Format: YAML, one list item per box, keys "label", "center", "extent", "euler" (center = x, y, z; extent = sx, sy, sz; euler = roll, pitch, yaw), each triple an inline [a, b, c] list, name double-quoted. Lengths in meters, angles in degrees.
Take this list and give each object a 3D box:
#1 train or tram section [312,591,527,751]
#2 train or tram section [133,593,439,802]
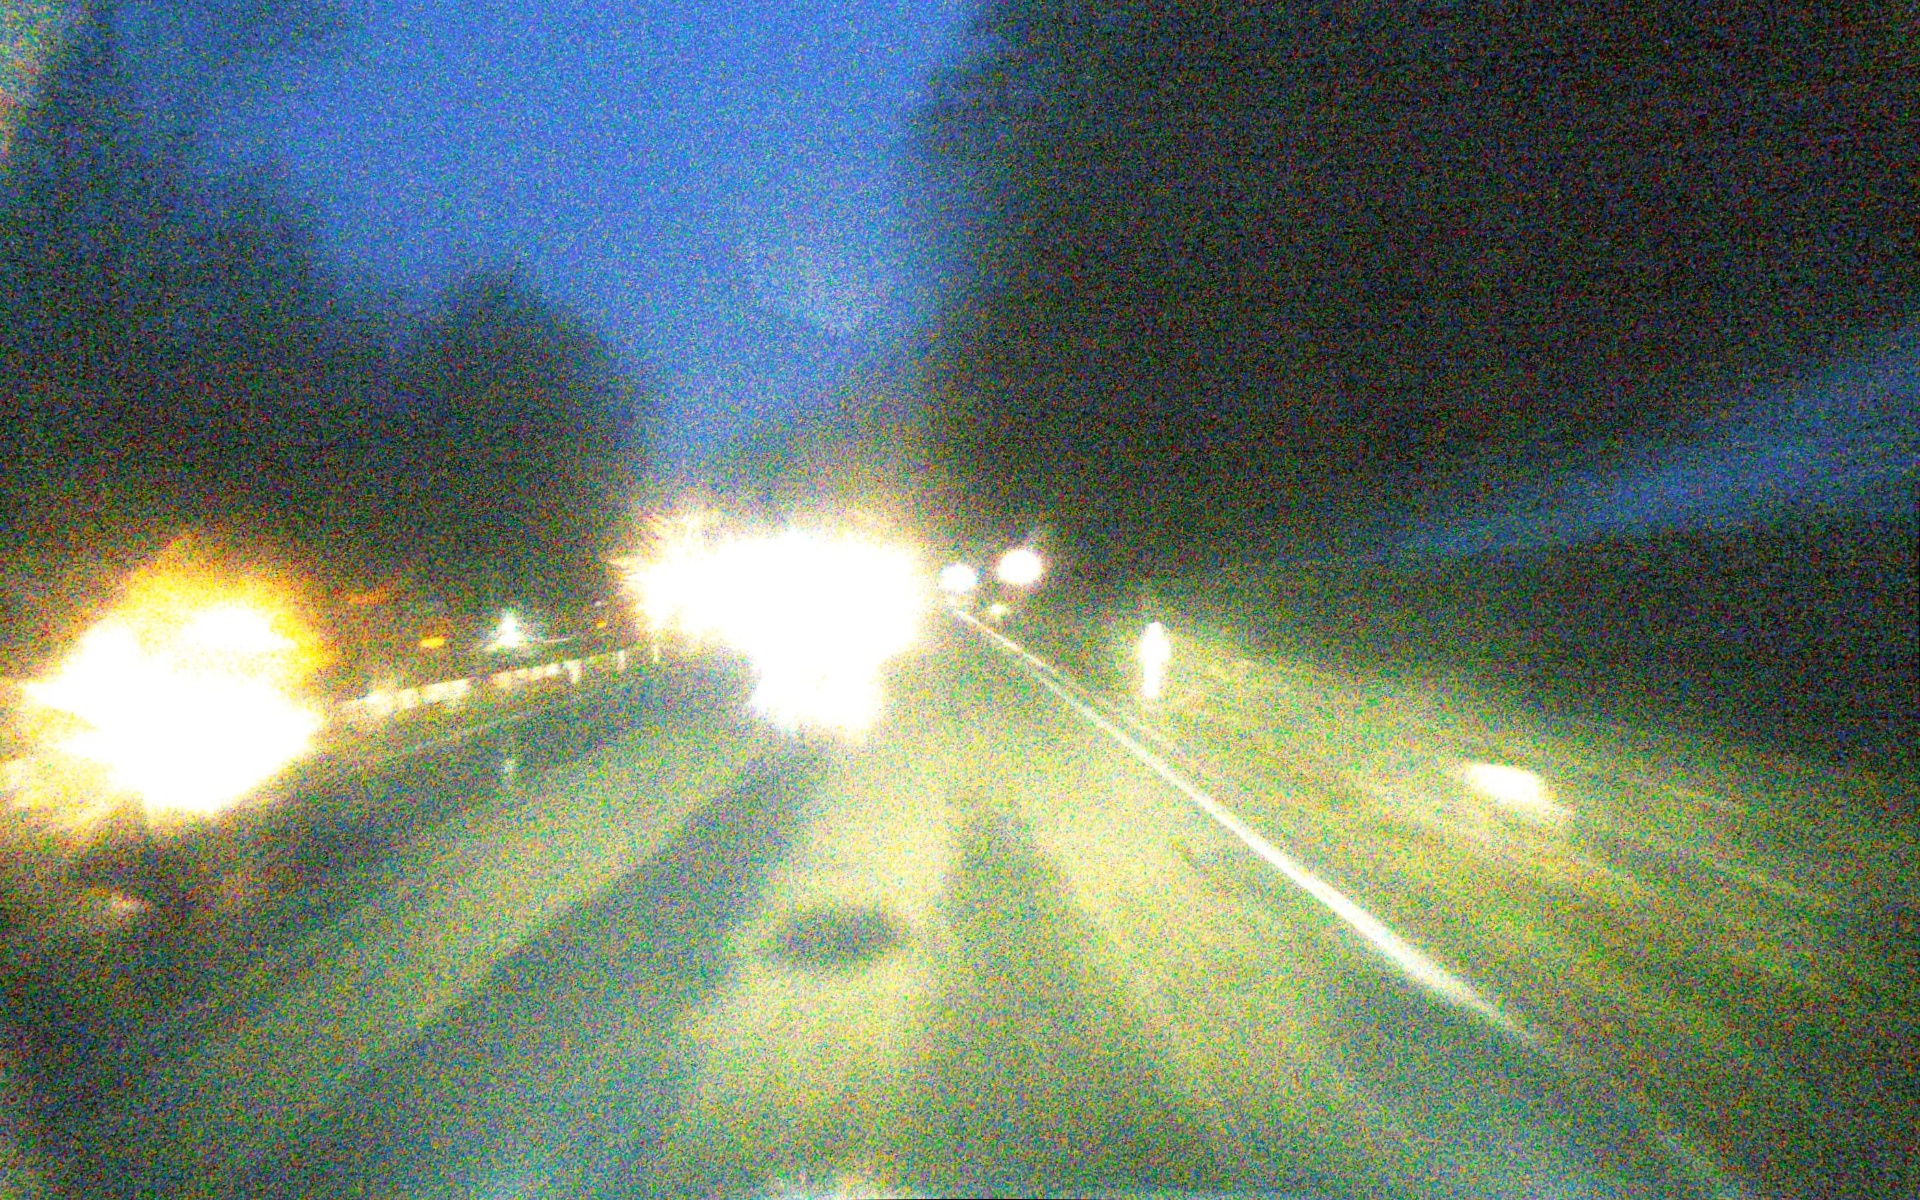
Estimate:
- label: "train or tram section"
  center: [-13.264, 1.571, 41.473]
  extent: [2.786, 3.520, 8.550]
  euler: [0, 1, -2]
- label: "train or tram section"
  center: [-12.996, 1.666, 32.889]
  extent: [2.786, 3.520, 8.550]
  euler: [0, 1, -2]
